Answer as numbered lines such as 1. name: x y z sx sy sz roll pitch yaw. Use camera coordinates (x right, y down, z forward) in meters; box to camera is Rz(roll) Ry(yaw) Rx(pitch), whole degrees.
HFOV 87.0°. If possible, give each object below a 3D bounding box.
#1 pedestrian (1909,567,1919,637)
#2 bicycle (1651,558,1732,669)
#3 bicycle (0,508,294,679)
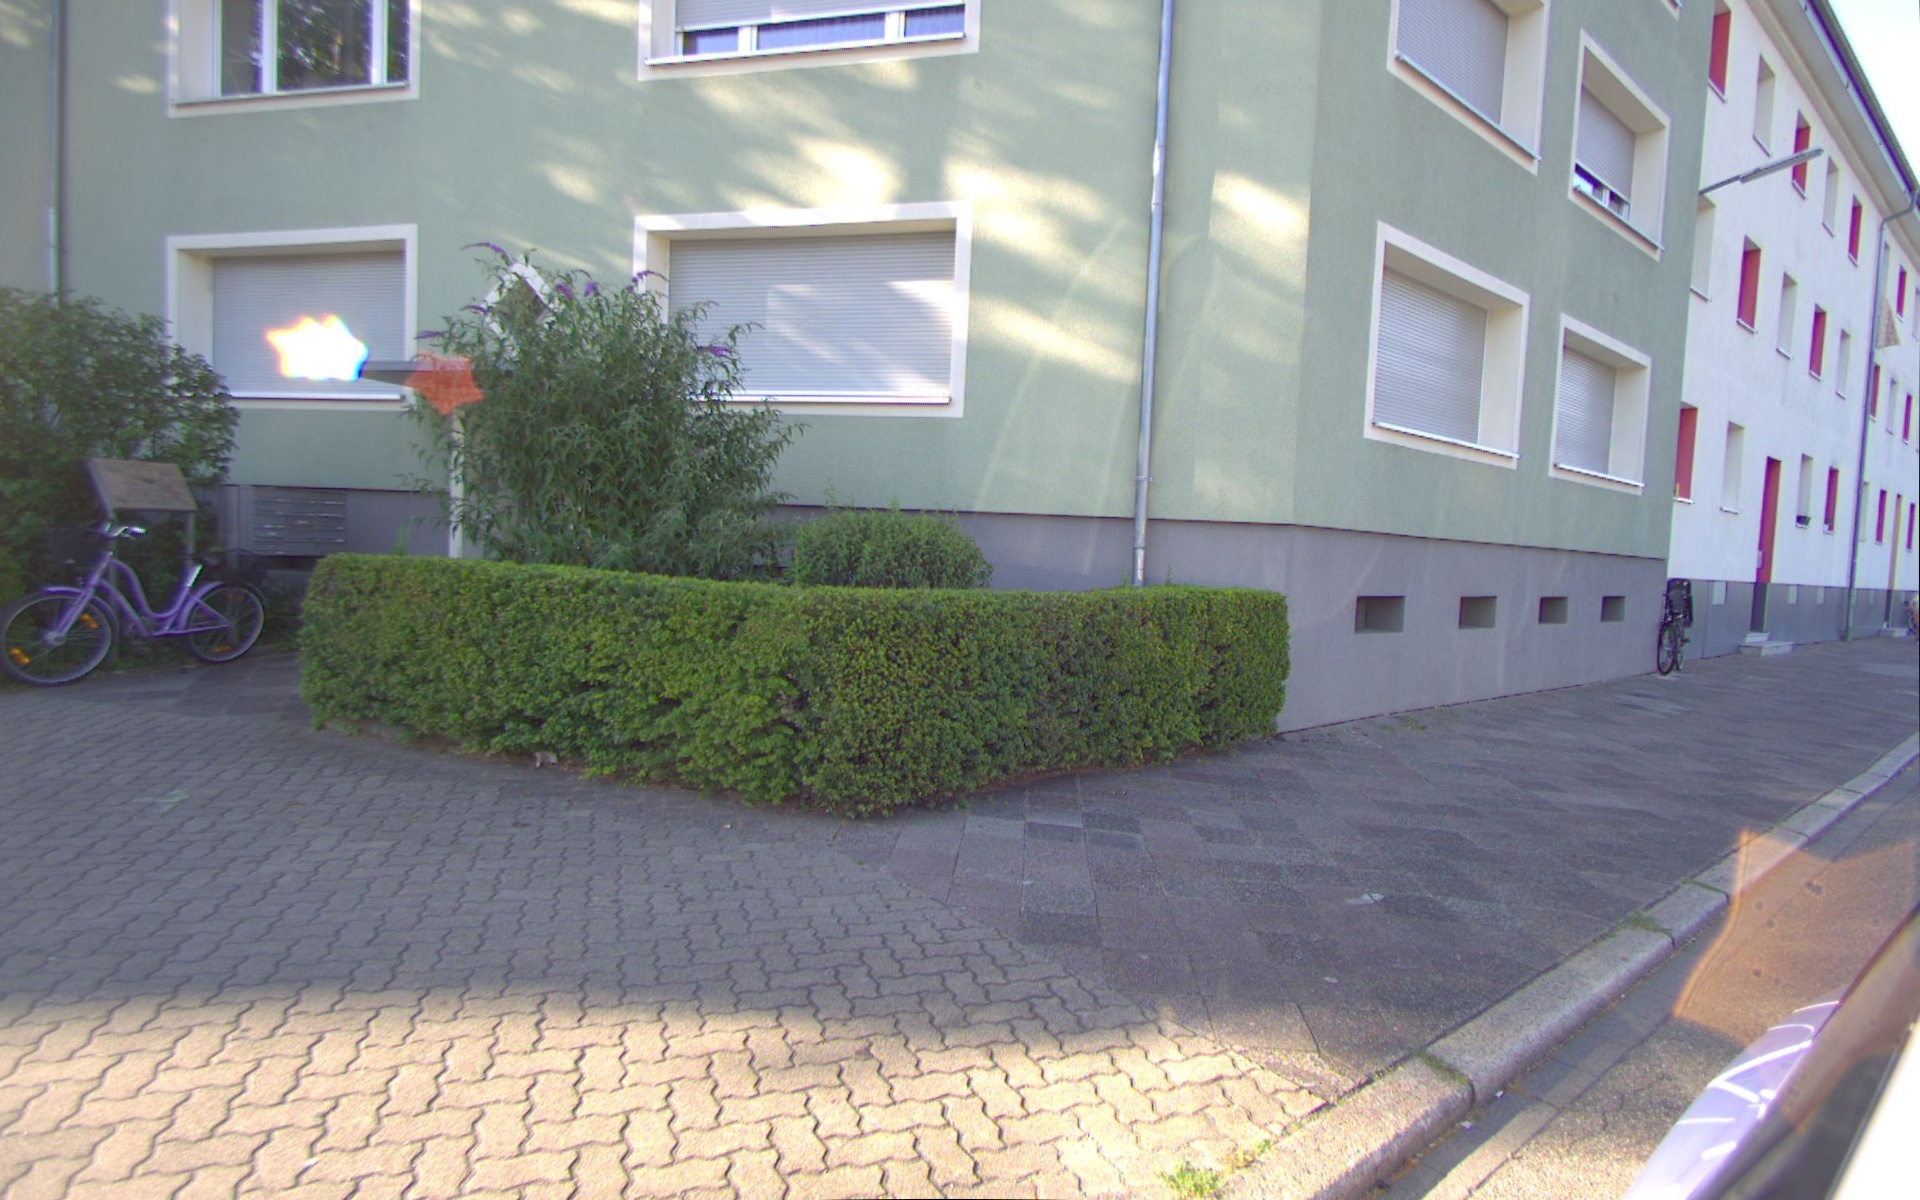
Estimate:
1. pedestrian: 24.354 0.074 25.243 0.933 1.727 0.787 0 4 -41
2. bicycle: 10.130 0.162 13.987 1.843 1.429 0.517 -1 4 -44
3. bicycle: -5.912 -0.084 7.286 0.515 1.069 1.920 3 3 22
